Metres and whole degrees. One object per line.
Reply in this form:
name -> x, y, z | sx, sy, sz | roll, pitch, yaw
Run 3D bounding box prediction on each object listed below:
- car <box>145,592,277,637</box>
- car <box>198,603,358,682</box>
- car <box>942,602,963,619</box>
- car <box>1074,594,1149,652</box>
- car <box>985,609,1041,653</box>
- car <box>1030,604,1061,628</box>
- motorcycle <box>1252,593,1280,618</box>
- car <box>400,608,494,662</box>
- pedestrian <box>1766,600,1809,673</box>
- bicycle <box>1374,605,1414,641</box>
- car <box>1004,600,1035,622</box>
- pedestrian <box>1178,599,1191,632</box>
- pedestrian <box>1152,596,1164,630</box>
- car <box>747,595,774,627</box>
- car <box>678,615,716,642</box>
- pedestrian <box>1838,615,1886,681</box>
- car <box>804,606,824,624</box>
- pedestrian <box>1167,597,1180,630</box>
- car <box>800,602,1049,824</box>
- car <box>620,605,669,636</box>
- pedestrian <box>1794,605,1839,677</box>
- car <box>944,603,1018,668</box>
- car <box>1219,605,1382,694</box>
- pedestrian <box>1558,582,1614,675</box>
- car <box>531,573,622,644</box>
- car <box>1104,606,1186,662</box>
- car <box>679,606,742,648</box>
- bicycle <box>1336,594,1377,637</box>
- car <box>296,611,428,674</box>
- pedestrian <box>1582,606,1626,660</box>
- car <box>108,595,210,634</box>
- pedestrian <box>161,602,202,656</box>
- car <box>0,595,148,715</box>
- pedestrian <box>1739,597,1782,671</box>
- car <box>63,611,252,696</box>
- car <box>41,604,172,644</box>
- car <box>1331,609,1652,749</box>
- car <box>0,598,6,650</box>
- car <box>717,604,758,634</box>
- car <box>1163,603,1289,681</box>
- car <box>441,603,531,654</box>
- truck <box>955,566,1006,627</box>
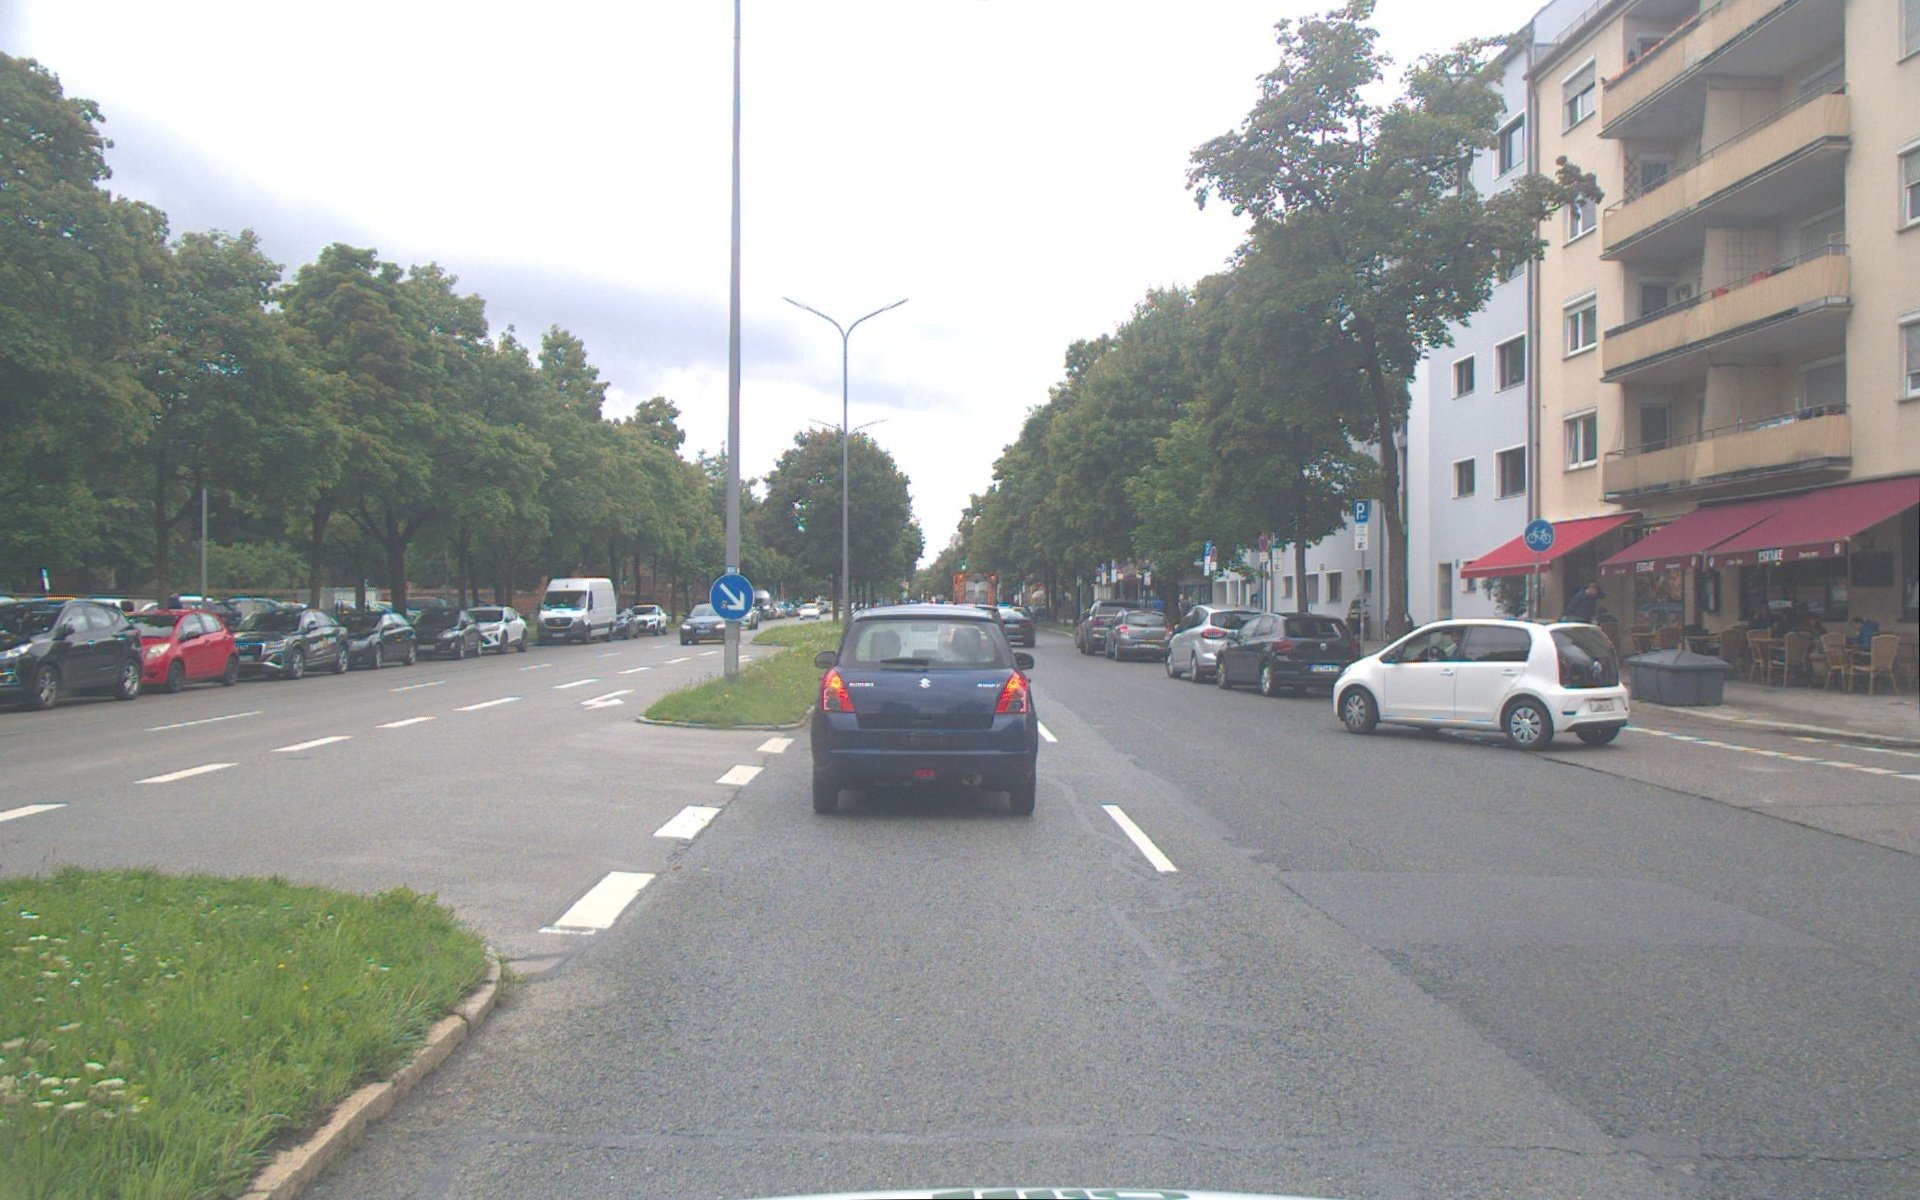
car -> -27.037, 0.528, 59.782 | 3.905, 1.598, 1.814 | 0, 0, 0
car -> -14.814, 0.883, 36.189 | 1.784, 1.627, 4.112 | 0, 0, 0
car -> -0.726, 0.992, 153.728 | 1.793, 1.549, 3.768 | 0, 0, -3
car -> 4.793, 0.717, 52.852 | 1.792, 1.777, 4.506 | 0, 0, -2
car -> 1.936, 1.120, 61.997 | 1.785, 1.503, 4.689 | 2, 0, -1
car -> 6.219, 1.155, 120.583 | 1.953, 1.671, 4.332 | 0, 0, -1
motorcycle -> 13.370, 0.236, 72.307 | 0.746, 1.105, 2.199 | 0, 0, -1
car -> -14.942, 0.993, 48.379 | 1.786, 1.473, 3.995 | -1, 0, -5
pedestrian -> 14.889, 0.654, 29.775 | 0.527, 1.290, 0.486 | 0, 0, -2
bicycle -> 13.877, 0.725, 52.923 | 0.609, 1.064, 2.195 | -4, 0, -1
car -> 4.070, 0.749, 113.270 | 1.953, 1.477, 3.999 | 0, 0, -1
pedestrian -> 11.479, 0.800, 84.549 | 0.530, 1.669, 0.724 | 0, 0, -1
pedestrian -> 10.078, 0.656, 84.187 | 0.489, 1.764, 0.732 | 0, 0, -1
car -> -19.213, 1.075, 159.653 | 2.142, 3.005, 6.187 | 1, 0, -4
car -> -16.737, 1.792, 105.311 | 1.849, 1.564, 4.312 | -3, 0, -3
pedestrian -> 14.840, 0.781, 27.224 | 0.527, 1.072, 0.487 | 0, 0, -1
car -> -13.828, 1.409, 156.934 | 1.726, 1.564, 4.311 | -3, 0, -4
pedestrian -> 10.882, 0.699, 84.190 | 0.537, 1.658, 0.641 | -1, 0, -1
car -> -0.259, 0.788, 13.459 | 1.717, 1.531, 3.999 | 0, 0, -1
car -> -15.756, 1.037, 82.845 | 1.820, 1.517, 4.140 | 0, -1, -2
pedestrian -> 14.870, 0.714, 28.709 | 0.527, 1.235, 0.487 | 0, 0, -1
car -> 0.476, 0.846, 41.547 | 1.684, 1.527, 4.299 | 1, 0, -1
car -> 6.048, 0.839, 29.814 | 1.794, 1.499, 3.883 | 0, 0, -6
pedestrian -> 13.436, 0.604, 35.495 | 0.854, 1.963, 0.757 | 0, 0, -17
car -> -15.532, 0.302, 67.416 | 2.096, 2.690, 7.104 | -1, 0, -1
car -> 5.300, 0.957, 47.804 | 1.792, 1.549, 3.769 | 0, 0, -2
car -> -9.267, 0.975, 61.712 | 1.779, 1.473, 4.780 | -1, 0, -2
bicycle -> 13.692, 0.527, 57.153 | 0.688, 1.432, 2.592 | -2, 0, -1
car -> -14.959, 1.032, 41.612 | 1.784, 1.434, 4.000 | -2, 0, 1
pedestrian -> 14.257, 0.718, 36.628 | 0.728, 1.184, 0.646 | 0, 0, -2
car -> -42.729, 0.774, 88.303 | 4.414, 2.070, 1.999 | 0, 0, -2
pedestrian -> -22.395, 0.827, 47.606 | 0.778, 1.521, 0.856 | 0, 0, -1
car -> -14.627, 0.836, 25.945 | 1.785, 1.729, 4.237 | 0, -1, -2
pedestrian -> 14.996, 0.628, 30.997 | 0.527, 1.362, 0.552 | 0, 0, -2
car -> -14.992, 0.979, 31.128 | 1.785, 1.505, 3.808 | 0, -1, -2
car -> -32.162, 0.887, 62.410 | 3.911, 1.467, 1.997 | 0, 0, -7
car -> 6.362, 0.878, 20.044 | 1.675, 1.516, 3.387 | 0, 0, -38
car -> -29.172, 0.680, 46.164 | 3.911, 1.467, 1.997 | 0, 0, -7
car -> -12.912, 1.075, 96.329 | 1.813, 1.628, 4.401 | -2, 0, -1
car -> 5.591, 0.848, 35.266 | 1.792, 1.549, 4.521 | 0, 0, -2
car -> -15.250, 0.923, 53.397 | 1.785, 1.554, 4.296 | -2, -1, -2
truck -> 1.178, -0.187, 105.225 | 2.979, 3.619, 13.672 | 0, 0, 0
